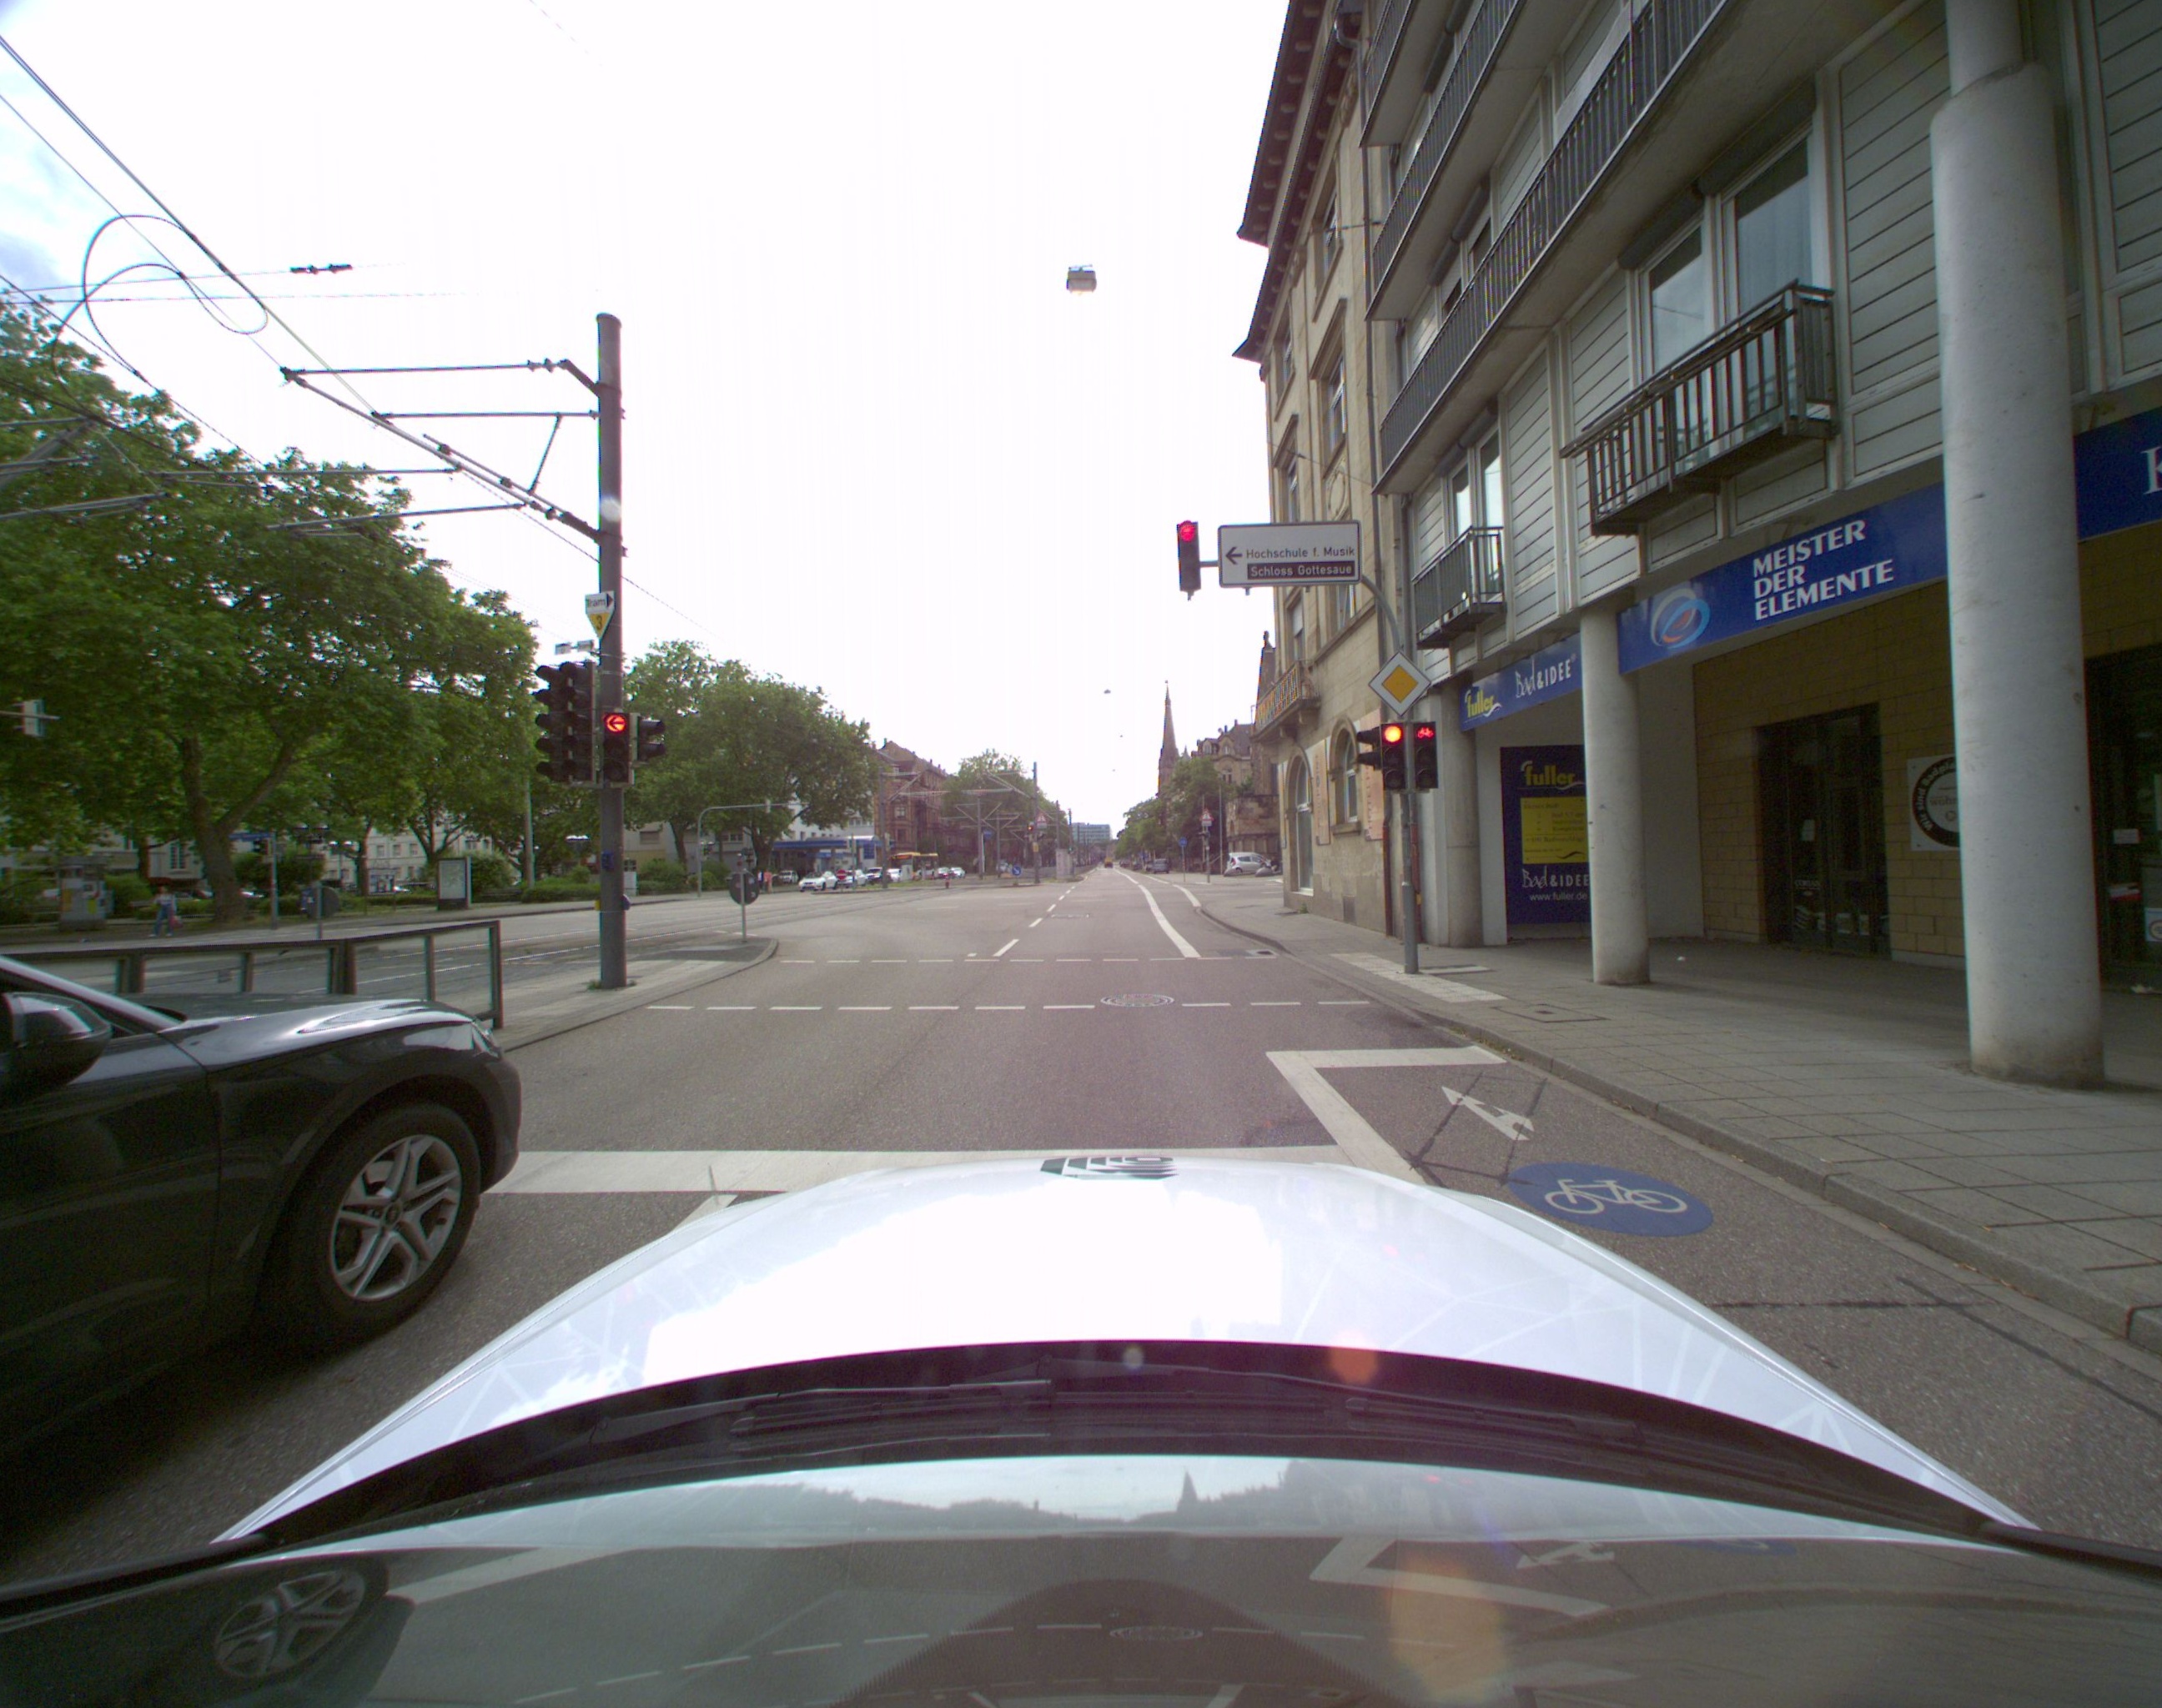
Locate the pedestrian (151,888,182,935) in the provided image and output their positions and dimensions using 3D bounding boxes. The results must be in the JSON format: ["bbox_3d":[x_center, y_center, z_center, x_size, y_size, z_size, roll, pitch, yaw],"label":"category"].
[{"bbox_3d":[-30.363,1.892,27.049,0.674,1.510,0.661,-2,-1,44],"label":"pedestrian"}]

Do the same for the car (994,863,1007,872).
[{"bbox_3d":[-14.782,2.459,149.891,1.986,1.610,4.001,0,-1,2],"label":"car"}]

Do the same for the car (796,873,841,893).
[{"bbox_3d":[-19.158,2.087,59.568,1.739,1.321,4.079,0,-1,4],"label":"car"}]

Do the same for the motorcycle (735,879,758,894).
[{"bbox_3d":[-22.606,2.187,55.074,0.604,0.928,1.953,-2,-1,2],"label":"motorcycle"}]

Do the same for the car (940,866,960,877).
[{"bbox_3d":[-16.495,2.202,102.783,1.649,1.321,3.641,0,-1,3],"label":"car"}]

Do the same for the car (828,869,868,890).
[{"bbox_3d":[-18.839,2.067,66.067,1.986,1.594,4.001,0,-1,2],"label":"car"}]

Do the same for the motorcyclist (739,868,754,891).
[{"bbox_3d":[-22.623,1.732,55.078,0.617,1.520,0.874,-2,-1,2],"label":"motorcyclist"}]

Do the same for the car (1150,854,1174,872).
[{"bbox_3d":[8.980,0.993,89.940,1.979,1.855,4.042,-1,-1,14],"label":"car"}]

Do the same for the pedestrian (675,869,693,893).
[{"bbox_3d":[-29.382,1.973,60.224,0.863,1.713,0.881,-2,-1,41],"label":"pedestrian"}]

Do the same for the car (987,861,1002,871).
[{"bbox_3d":[-15.042,2.077,142.082,1.986,1.610,4.001,0,-1,2],"label":"car"}]

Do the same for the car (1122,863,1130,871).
[{"bbox_3d":[11.928,3.383,216.776,1.986,2.014,4.001,0,-1,2],"label":"car"}]

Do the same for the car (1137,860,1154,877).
[{"bbox_3d":[7.901,1.704,99.631,1.985,2.014,4.004,0,-1,4],"label":"car"}]

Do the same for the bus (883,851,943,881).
[{"bbox_3d":[-18.293,1.311,89.708,3.217,3.035,12.323,0,0,4],"label":"bus"}]

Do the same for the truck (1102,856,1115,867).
[{"bbox_3d":[7.720,2.086,227.496,3.042,2.769,9.826,-2,0,4],"label":"truck"}]

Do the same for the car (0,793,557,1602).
[{"bbox_3d":[-3.069,0.697,1.219,1.727,1.637,4.228,0,-1,2],"label":"car"}]

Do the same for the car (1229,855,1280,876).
[{"bbox_3d":[13.753,0.909,64.751,3.699,1.563,2.001,0,-1,2],"label":"car"}]

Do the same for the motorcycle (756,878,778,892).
[{"bbox_3d":[-21.450,2.102,55.656,0.604,0.928,1.953,-2,-1,2],"label":"motorcycle"}]

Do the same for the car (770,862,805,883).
[{"bbox_3d":[-29.606,1.815,82.266,1.986,2.014,4.001,-2,-1,2],"label":"car"}]

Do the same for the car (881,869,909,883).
[{"bbox_3d":[-18.152,2.112,79.631,1.649,1.321,3.641,0,-1,3],"label":"car"}]

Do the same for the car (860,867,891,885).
[{"bbox_3d":[-18.324,1.940,72.710,1.649,1.478,3.641,0,-1,3],"label":"car"}]

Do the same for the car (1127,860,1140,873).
[{"bbox_3d":[8.705,2.062,136.170,1.986,2.014,4.001,0,-1,2],"label":"car"}]

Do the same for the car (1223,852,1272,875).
[{"bbox_3d":[13.932,0.792,68.226,3.699,1.855,2.001,0,-1,2],"label":"car"}]

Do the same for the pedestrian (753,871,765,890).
[{"bbox_3d":[-25.447,2.119,64.331,0.645,1.479,0.557,-2,-1,1],"label":"pedestrian"}]

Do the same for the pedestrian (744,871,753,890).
[{"bbox_3d":[-26.162,2.113,64.052,0.474,1.459,0.426,-2,-1,1],"label":"pedestrian"}]

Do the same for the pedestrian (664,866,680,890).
[{"bbox_3d":[-29.975,1.759,59.665,0.858,1.713,0.695,-2,-1,38],"label":"pedestrian"}]

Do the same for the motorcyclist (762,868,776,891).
[{"bbox_3d":[-21.459,1.744,56.013,0.617,1.520,0.874,-2,-1,2],"label":"motorcyclist"}]

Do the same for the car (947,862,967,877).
[{"bbox_3d":[-16.741,2.074,110.180,1.986,2.014,4.001,0,-1,2],"label":"car"}]
